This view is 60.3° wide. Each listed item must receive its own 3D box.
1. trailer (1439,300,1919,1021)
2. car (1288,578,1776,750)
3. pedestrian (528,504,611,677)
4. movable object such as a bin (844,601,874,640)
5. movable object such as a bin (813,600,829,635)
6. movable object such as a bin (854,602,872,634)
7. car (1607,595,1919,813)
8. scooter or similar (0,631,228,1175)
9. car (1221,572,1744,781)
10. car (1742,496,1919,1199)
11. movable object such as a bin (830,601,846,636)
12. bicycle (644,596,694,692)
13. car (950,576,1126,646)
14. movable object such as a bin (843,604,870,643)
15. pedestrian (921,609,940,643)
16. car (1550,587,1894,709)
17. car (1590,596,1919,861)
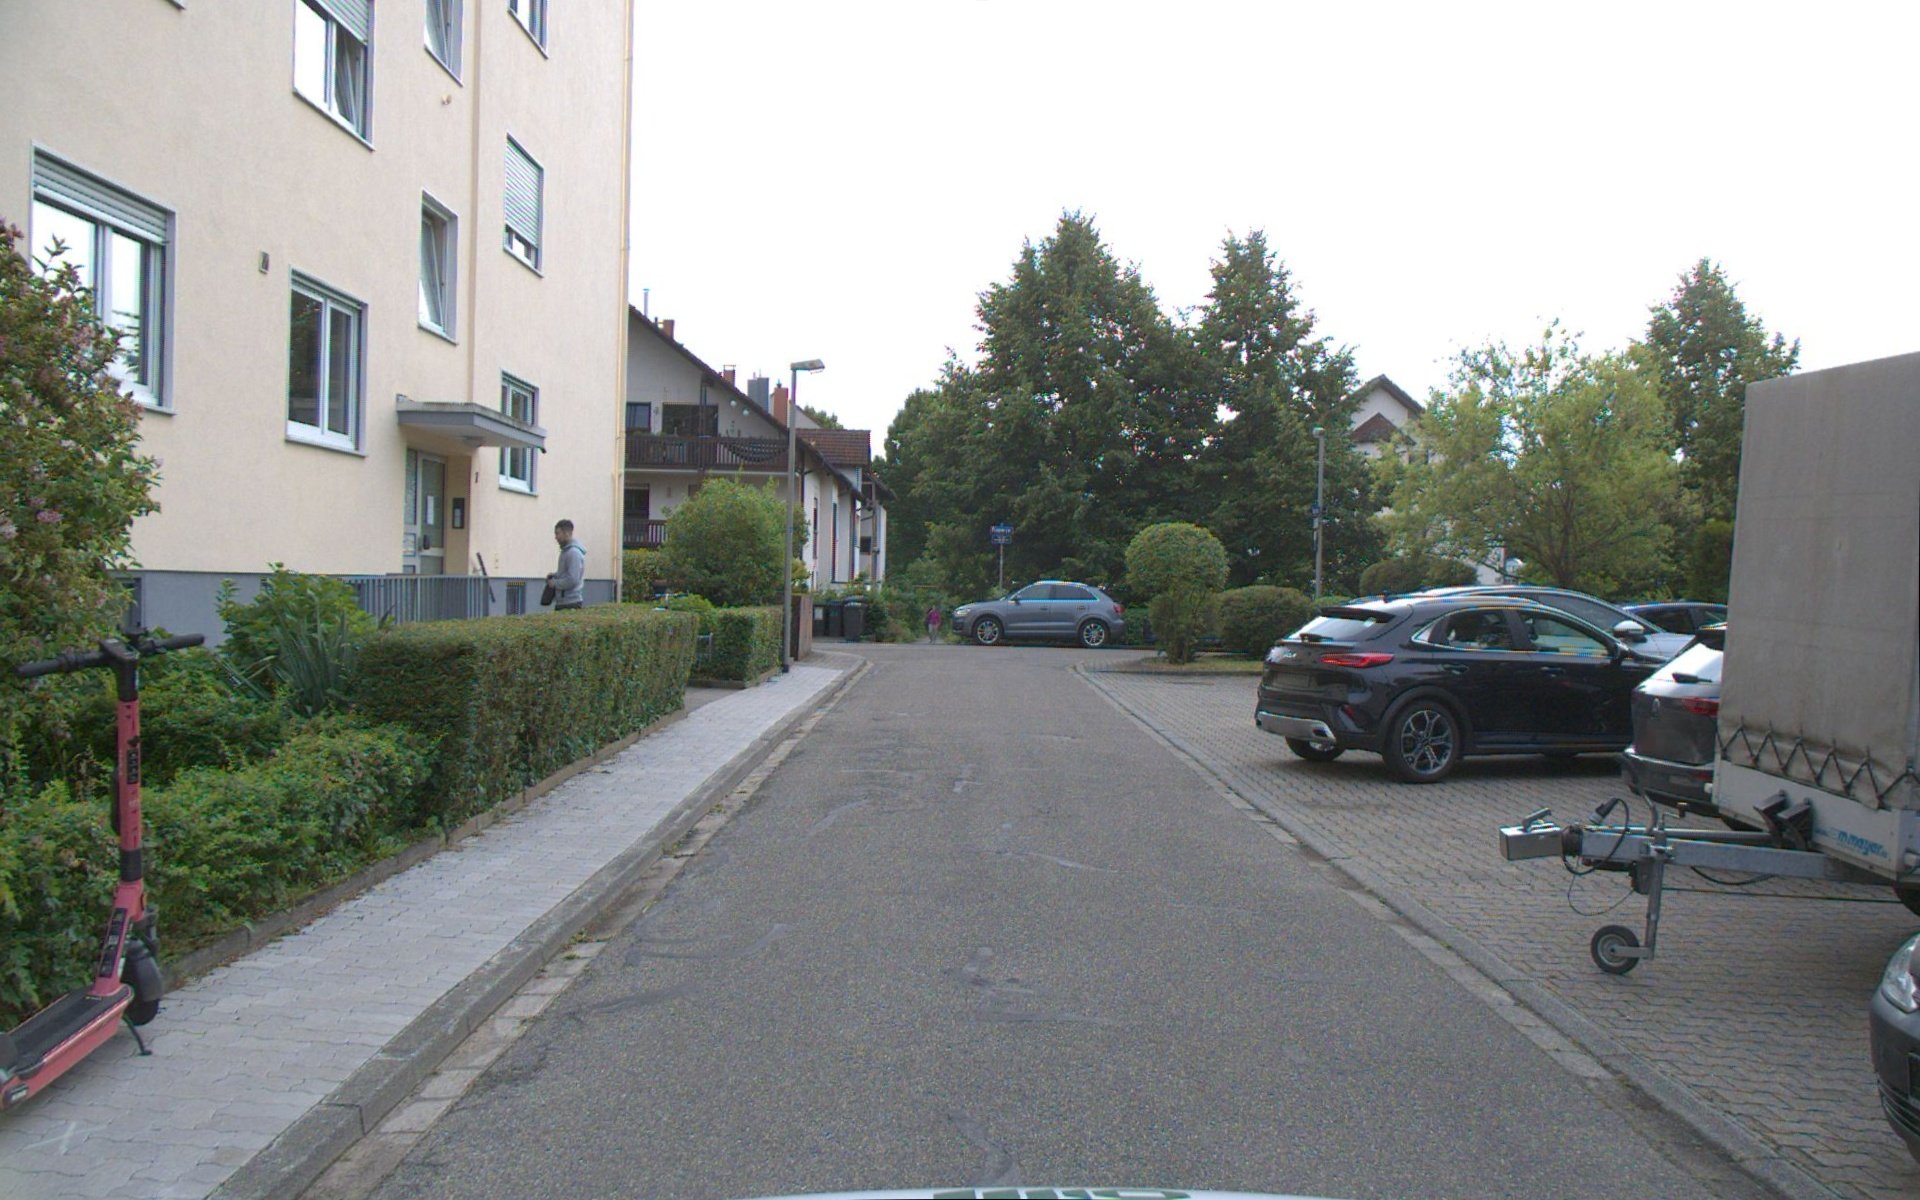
[{"bbox_3d":[4.576,0.256,6.943,4.515,2.569,1.943,2,0,0],"label":"trailer"},{"bbox_3d":[5.862,0.619,17.391,4.443,1.616,1.989,1,1,1],"label":"car"},{"bbox_3d":[-4.156,-0.105,17.644,0.665,1.779,0.756,2,0,-2],"label":"pedestrian"},{"bbox_3d":[-2.622,0.534,43.006,0.718,0.970,0.584,2,0,-1],"label":"movable object such as a bin"},{"bbox_3d":[-3.690,0.463,43.786,0.378,0.917,0.379,2,0,-3],"label":"movable object such as a bin"},{"bbox_3d":[-2.596,0.479,44.213,0.450,0.811,0.379,2,0,-3],"label":"movable object such as a bin"},{"bbox_3d":[7.165,0.733,12.377,3.912,1.474,1.916,1,1,2],"label":"car"},{"bbox_3d":[-2.359,0.723,4.457,0.267,1.232,1.164,1,1,-1],"label":"scooter or similar"},{"bbox_3d":[4.496,0.575,14.416,3.923,1.579,1.991,-1,1,-16],"label":"car"},{"bbox_3d":[4.525,0.614,4.103,4.223,1.833,2.000,-1,1,-1],"label":"car"},{"bbox_3d":[-3.233,0.495,43.831,0.378,0.905,0.379,2,0,-3],"label":"movable object such as a bin"},{"bbox_3d":[-3.487,0.511,19.866,0.311,1.094,1.418,2,0,0],"label":"bicycle"},{"bbox_3d":[1.863,0.275,40.204,4.151,1.558,1.747,1,-2,-1],"label":"car"},{"bbox_3d":[-2.624,0.593,42.168,0.625,0.970,0.723,2,0,-1],"label":"movable object such as a bin"},{"bbox_3d":[-1.325,1.163,74.662,0.798,1.544,0.438,1,0,-3],"label":"pedestrian"},{"bbox_3d":[10.438,0.628,22.876,3.818,1.537,2.027,1,1,-1],"label":"car"},{"bbox_3d":[6.220,0.743,10.213,4.043,1.474,1.612,1,1,-1],"label":"car"}]
